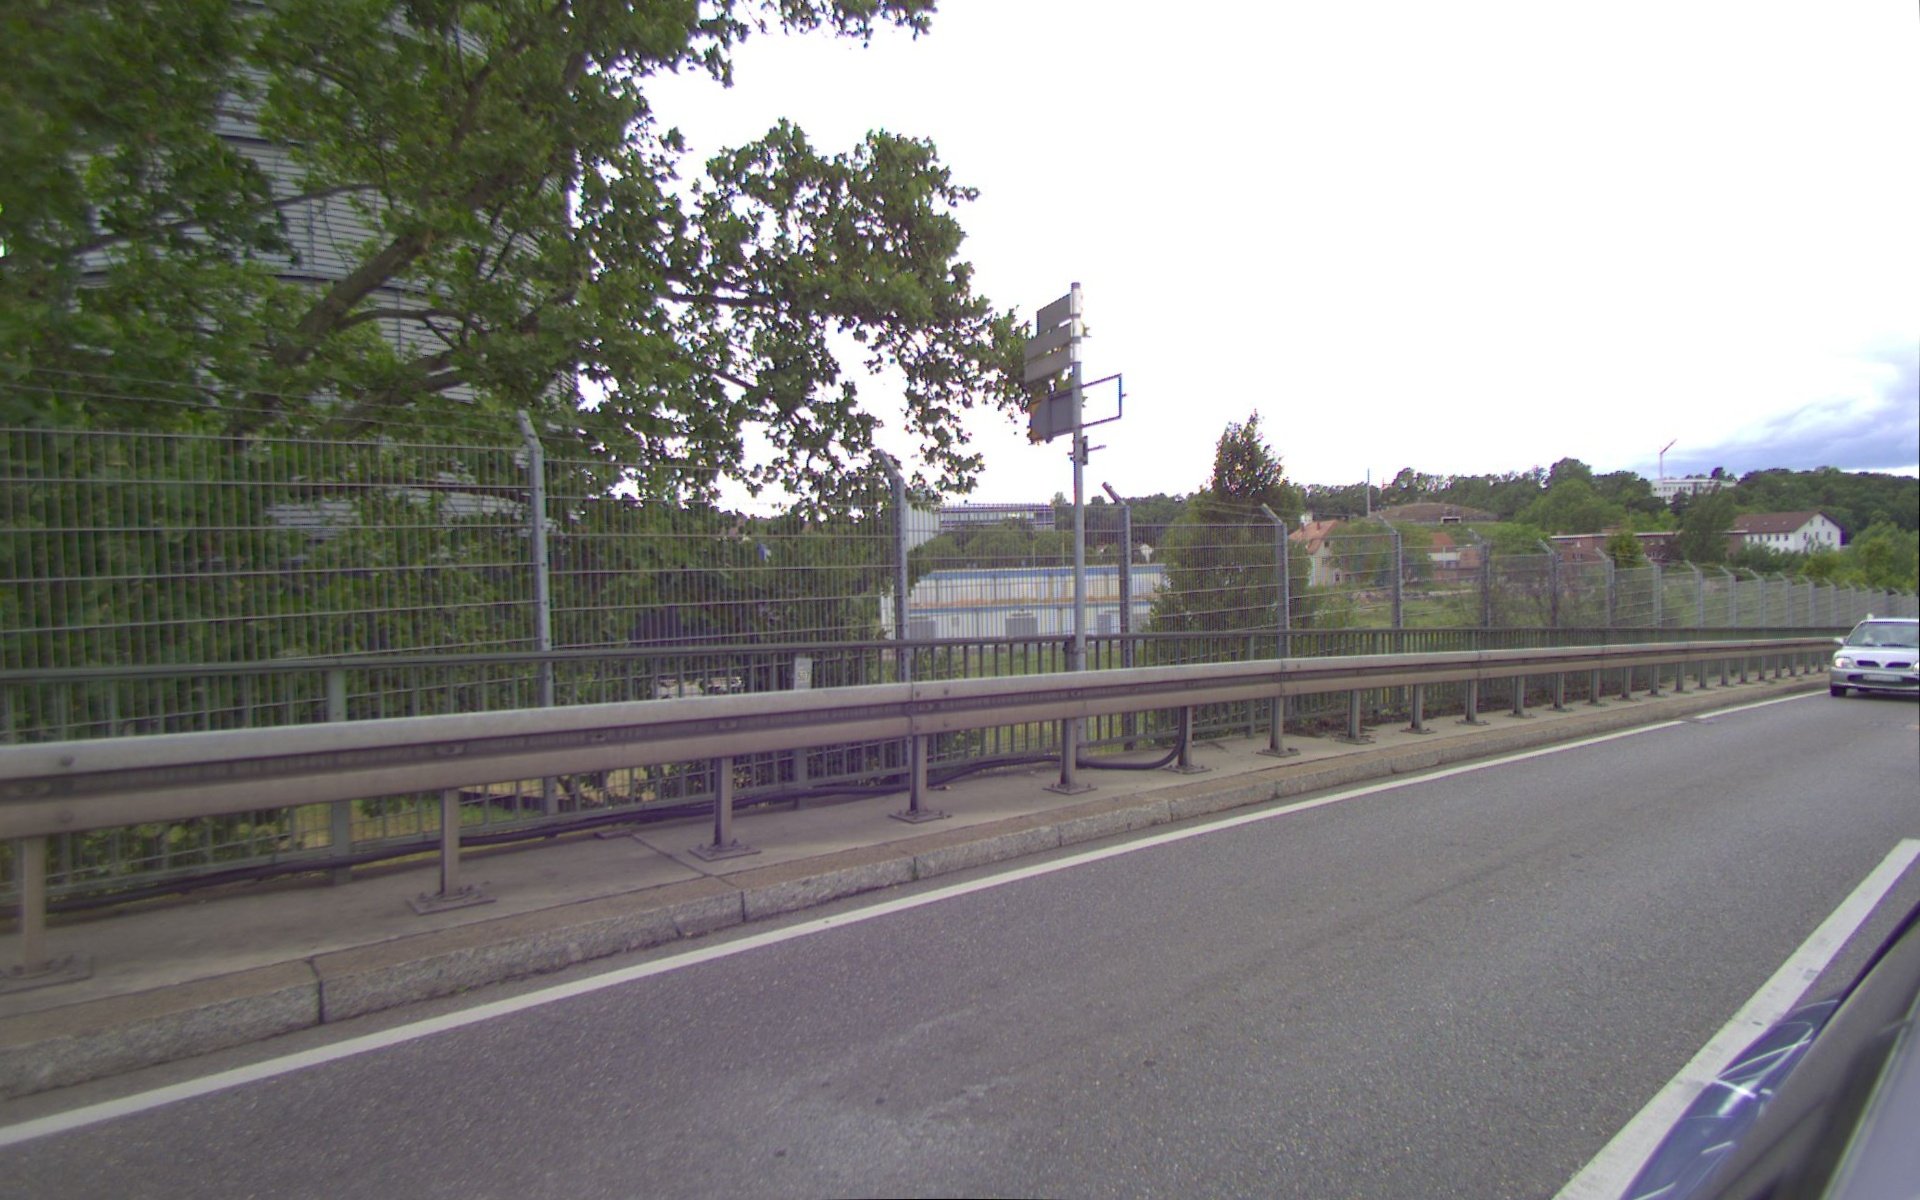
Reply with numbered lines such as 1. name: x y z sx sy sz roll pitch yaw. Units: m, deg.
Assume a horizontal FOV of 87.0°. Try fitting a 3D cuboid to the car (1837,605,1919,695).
1. car: 17.153 0.846 18.216 3.382 1.449 1.588 -1 1 -40
